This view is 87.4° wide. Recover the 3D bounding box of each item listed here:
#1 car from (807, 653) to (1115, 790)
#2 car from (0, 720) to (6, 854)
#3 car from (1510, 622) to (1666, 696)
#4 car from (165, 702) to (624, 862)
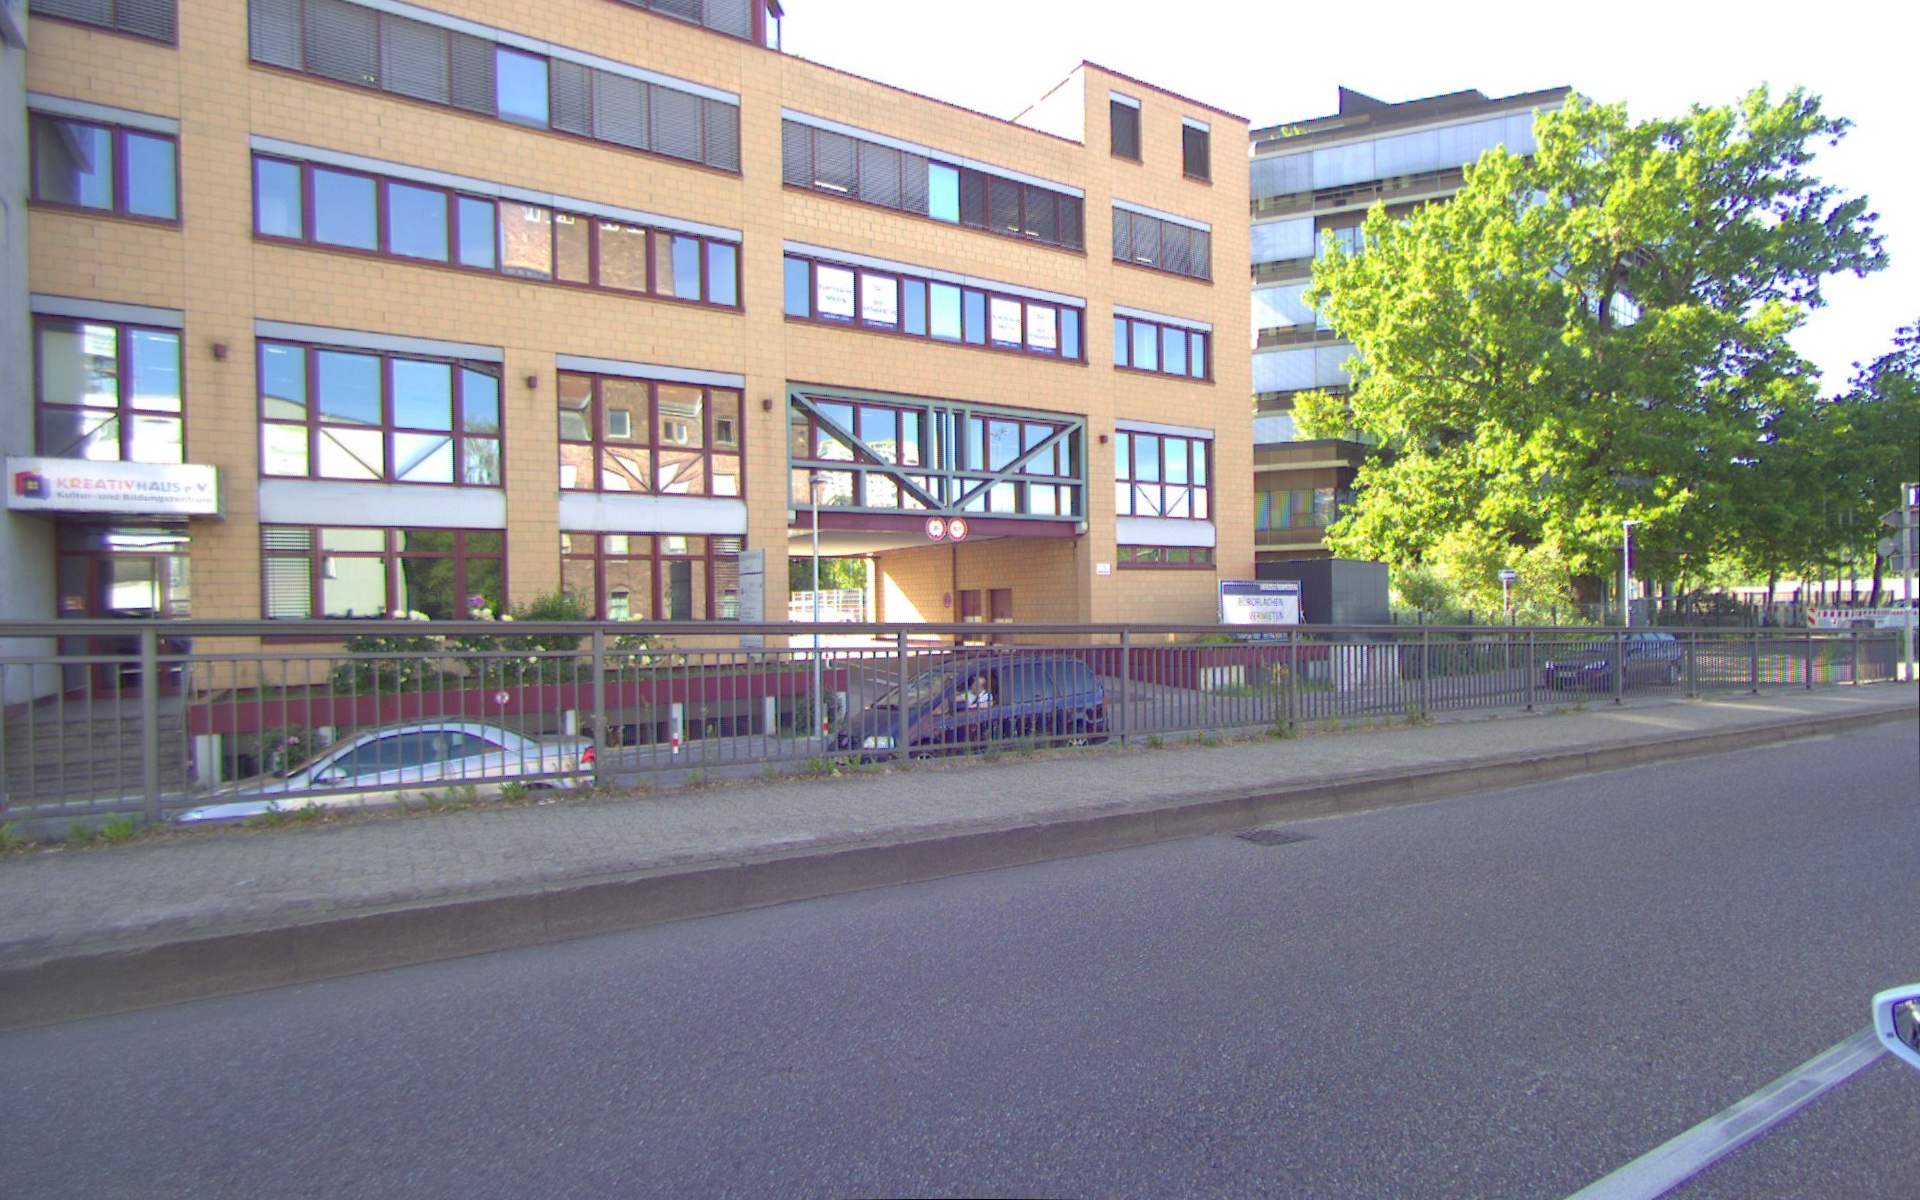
[{"bbox_3d":[0.112,1.701,15.248,4.541,1.669,1.710,0,-2,-35],"label":"car"},{"bbox_3d":[-10.645,1.805,8.280,3.766,1.286,1.567,0,-2,-32],"label":"car"},{"bbox_3d":[16.436,1.469,26.271,3.953,1.715,1.843,-1,0,-30],"label":"car"},{"bbox_3d":[-6.133,1.901,11.305,4.210,1.181,1.713,0,-2,-32],"label":"car"}]
